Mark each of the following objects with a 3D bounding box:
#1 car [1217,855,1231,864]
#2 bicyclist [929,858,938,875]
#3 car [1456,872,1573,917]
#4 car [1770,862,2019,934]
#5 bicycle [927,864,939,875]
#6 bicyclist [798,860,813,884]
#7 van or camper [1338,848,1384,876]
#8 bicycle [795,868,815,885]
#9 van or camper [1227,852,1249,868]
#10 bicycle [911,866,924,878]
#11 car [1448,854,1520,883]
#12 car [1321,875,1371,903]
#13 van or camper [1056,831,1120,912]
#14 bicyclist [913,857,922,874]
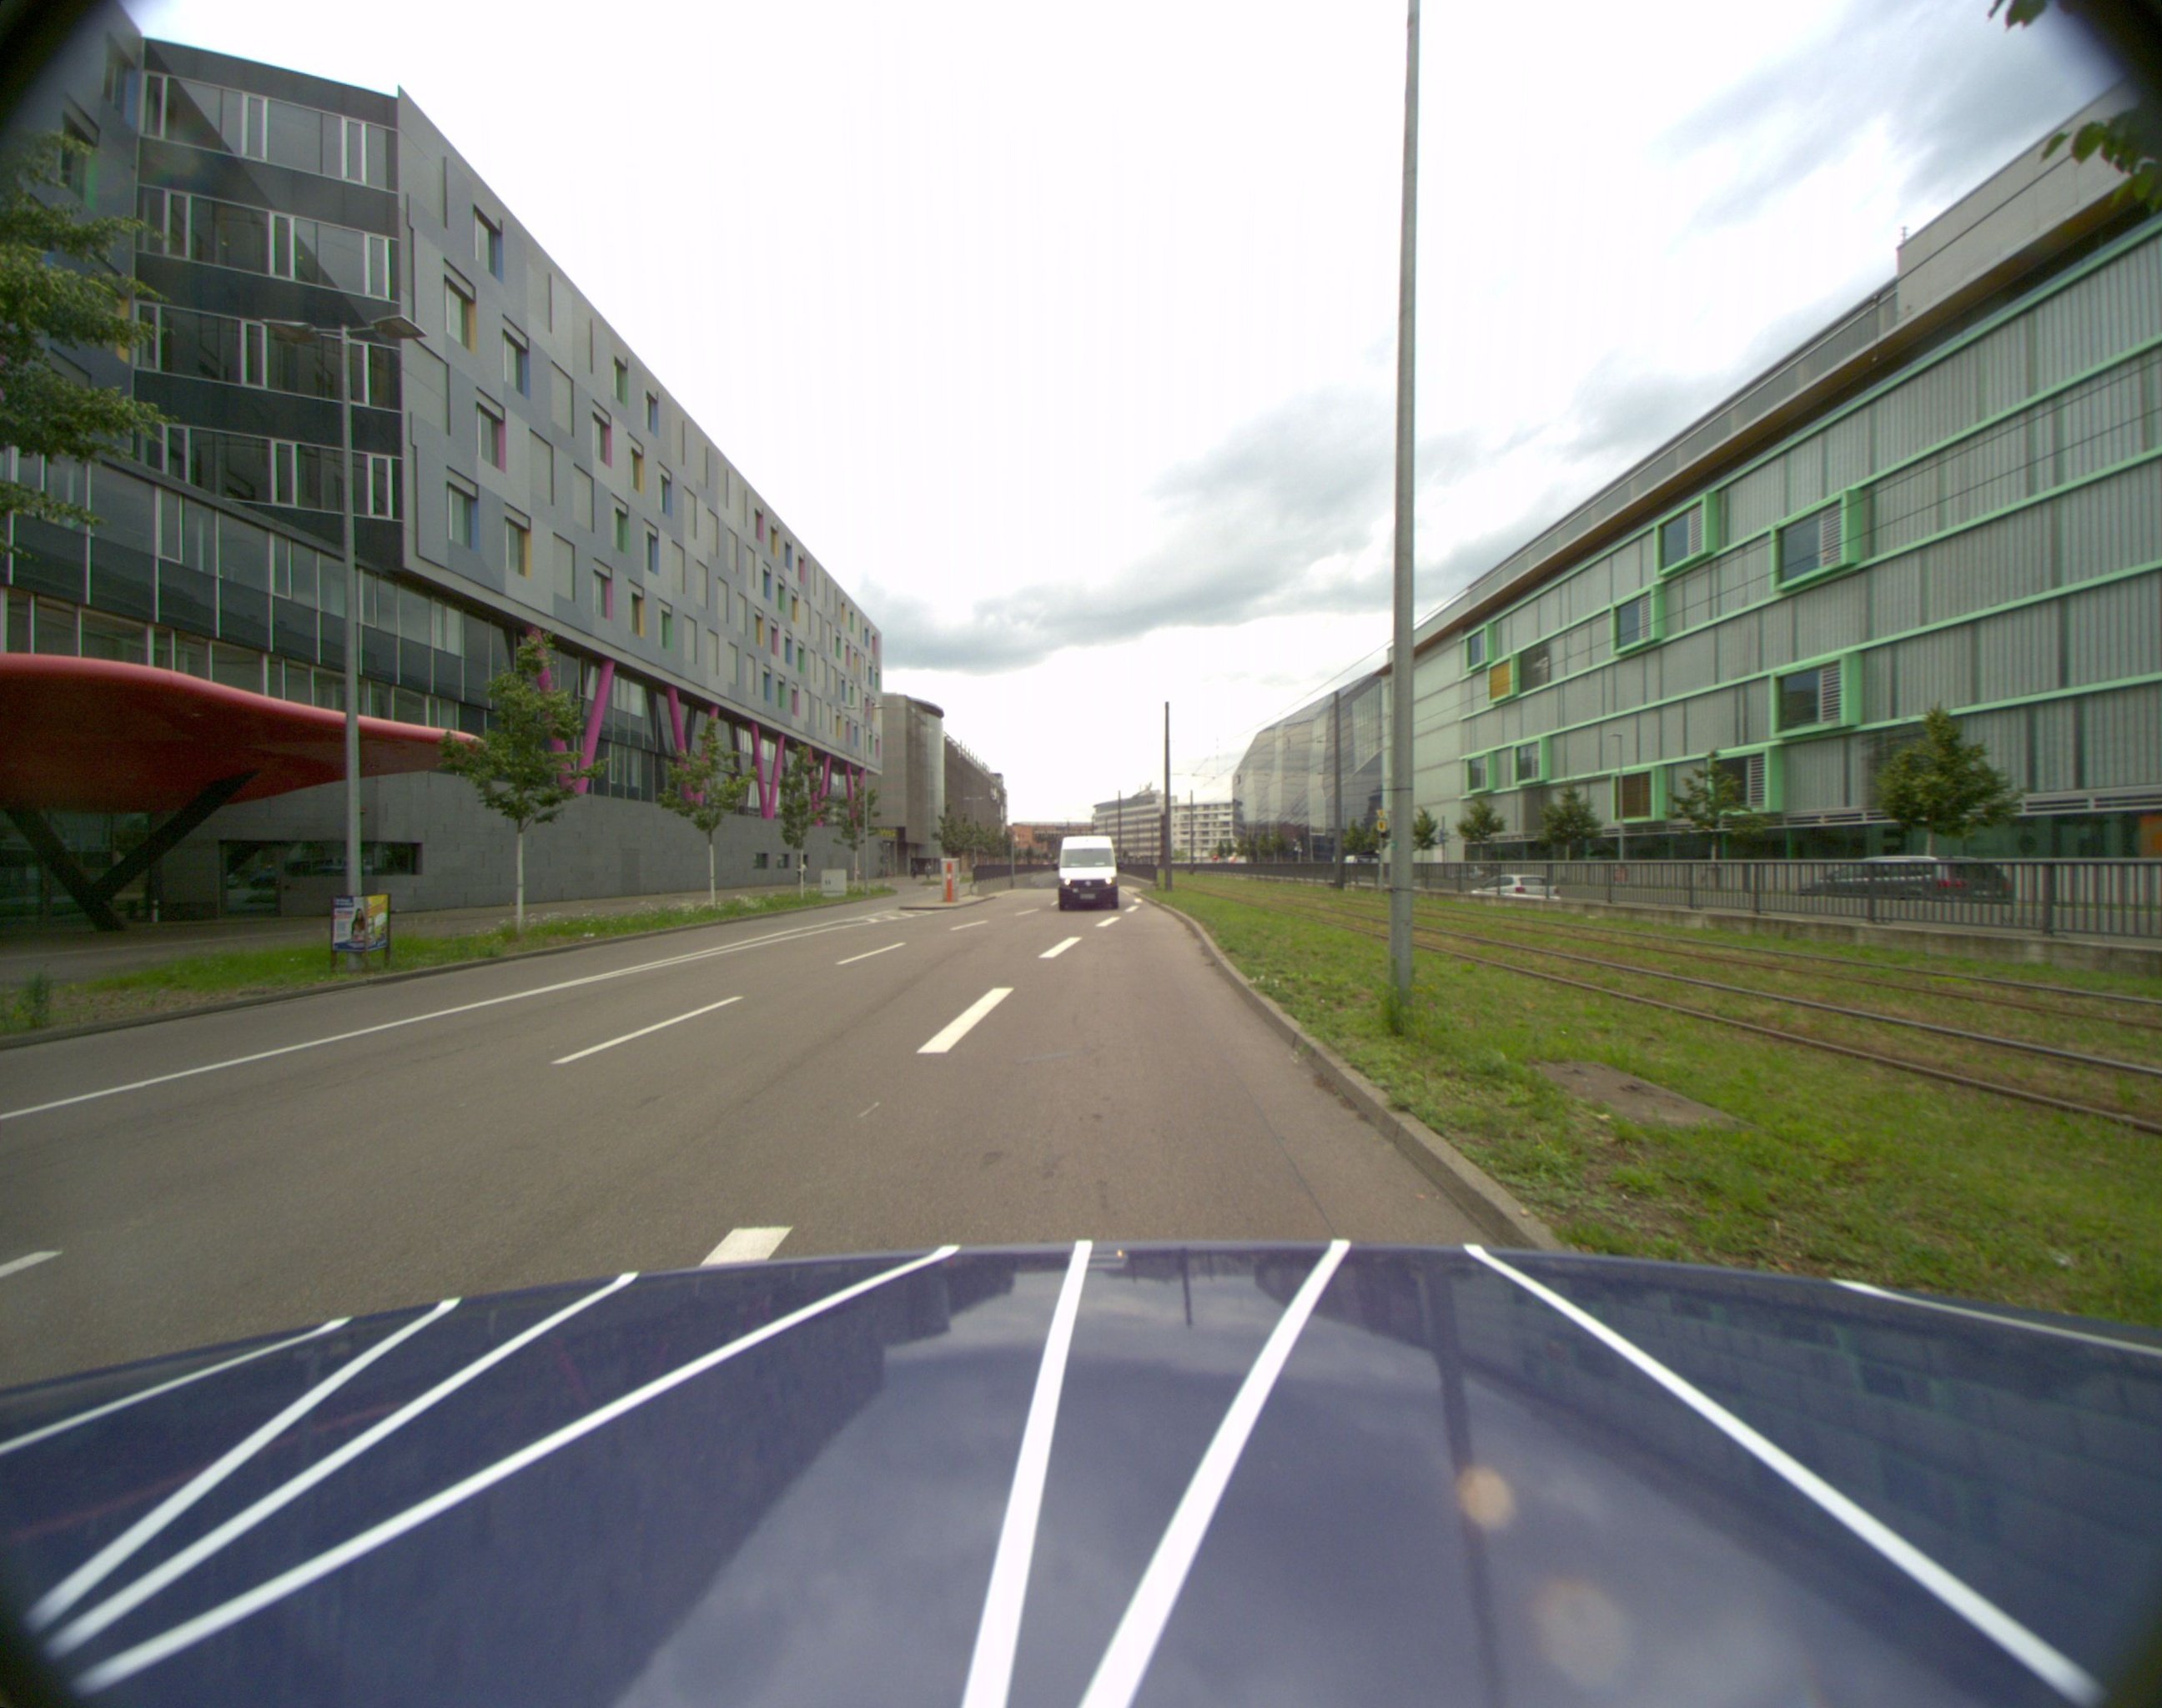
[{"bbox_3d":[26.642,1.104,141.840,1.998,1.583,4.769,-1,-2,3],"label":"car"},{"bbox_3d":[-15.675,1.338,80.584,0.784,1.791,0.705,-1,-1,0],"label":"bicyclist"},{"bbox_3d":[16.180,1.473,28.659,1.767,1.470,4.572,0,0,-1],"label":"car"},{"bbox_3d":[23.321,1.162,22.156,1.998,1.813,4.968,-1,0,1],"label":"car"},{"bbox_3d":[-15.669,1.683,80.628,0.801,1.151,2.345,-1,-1,0],"label":"bicycle"},{"bbox_3d":[-20.444,1.355,56.386,0.772,1.776,0.974,0,0,-3],"label":"bicyclist"},{"bbox_3d":[24.505,0.706,66.724,2.178,2.273,5.359,0,0,1],"label":"van or camper"},{"bbox_3d":[-20.434,1.663,56.214,0.785,1.187,2.220,0,-1,-3],"label":"bicycle"},{"bbox_3d":[23.927,0.953,116.022,2.178,2.273,6.507,-2,-1,1],"label":"van or camper"},{"bbox_3d":[-17.516,1.926,81.400,0.801,1.150,2.347,-1,-4,0],"label":"bicycle"},{"bbox_3d":[24.429,0.845,46.286,1.998,1.656,4.647,0,0,1],"label":"car"},{"bbox_3d":[16.498,2.147,47.495,1.997,1.576,4.381,0,0,7],"label":"car"},{"bbox_3d":[0.226,0.583,27.160,2.043,2.572,5.041,-1,0,0],"label":"van or camper"},{"bbox_3d":[-17.529,1.273,81.605,0.784,1.790,0.705,-1,-4,0],"label":"bicyclist"}]
